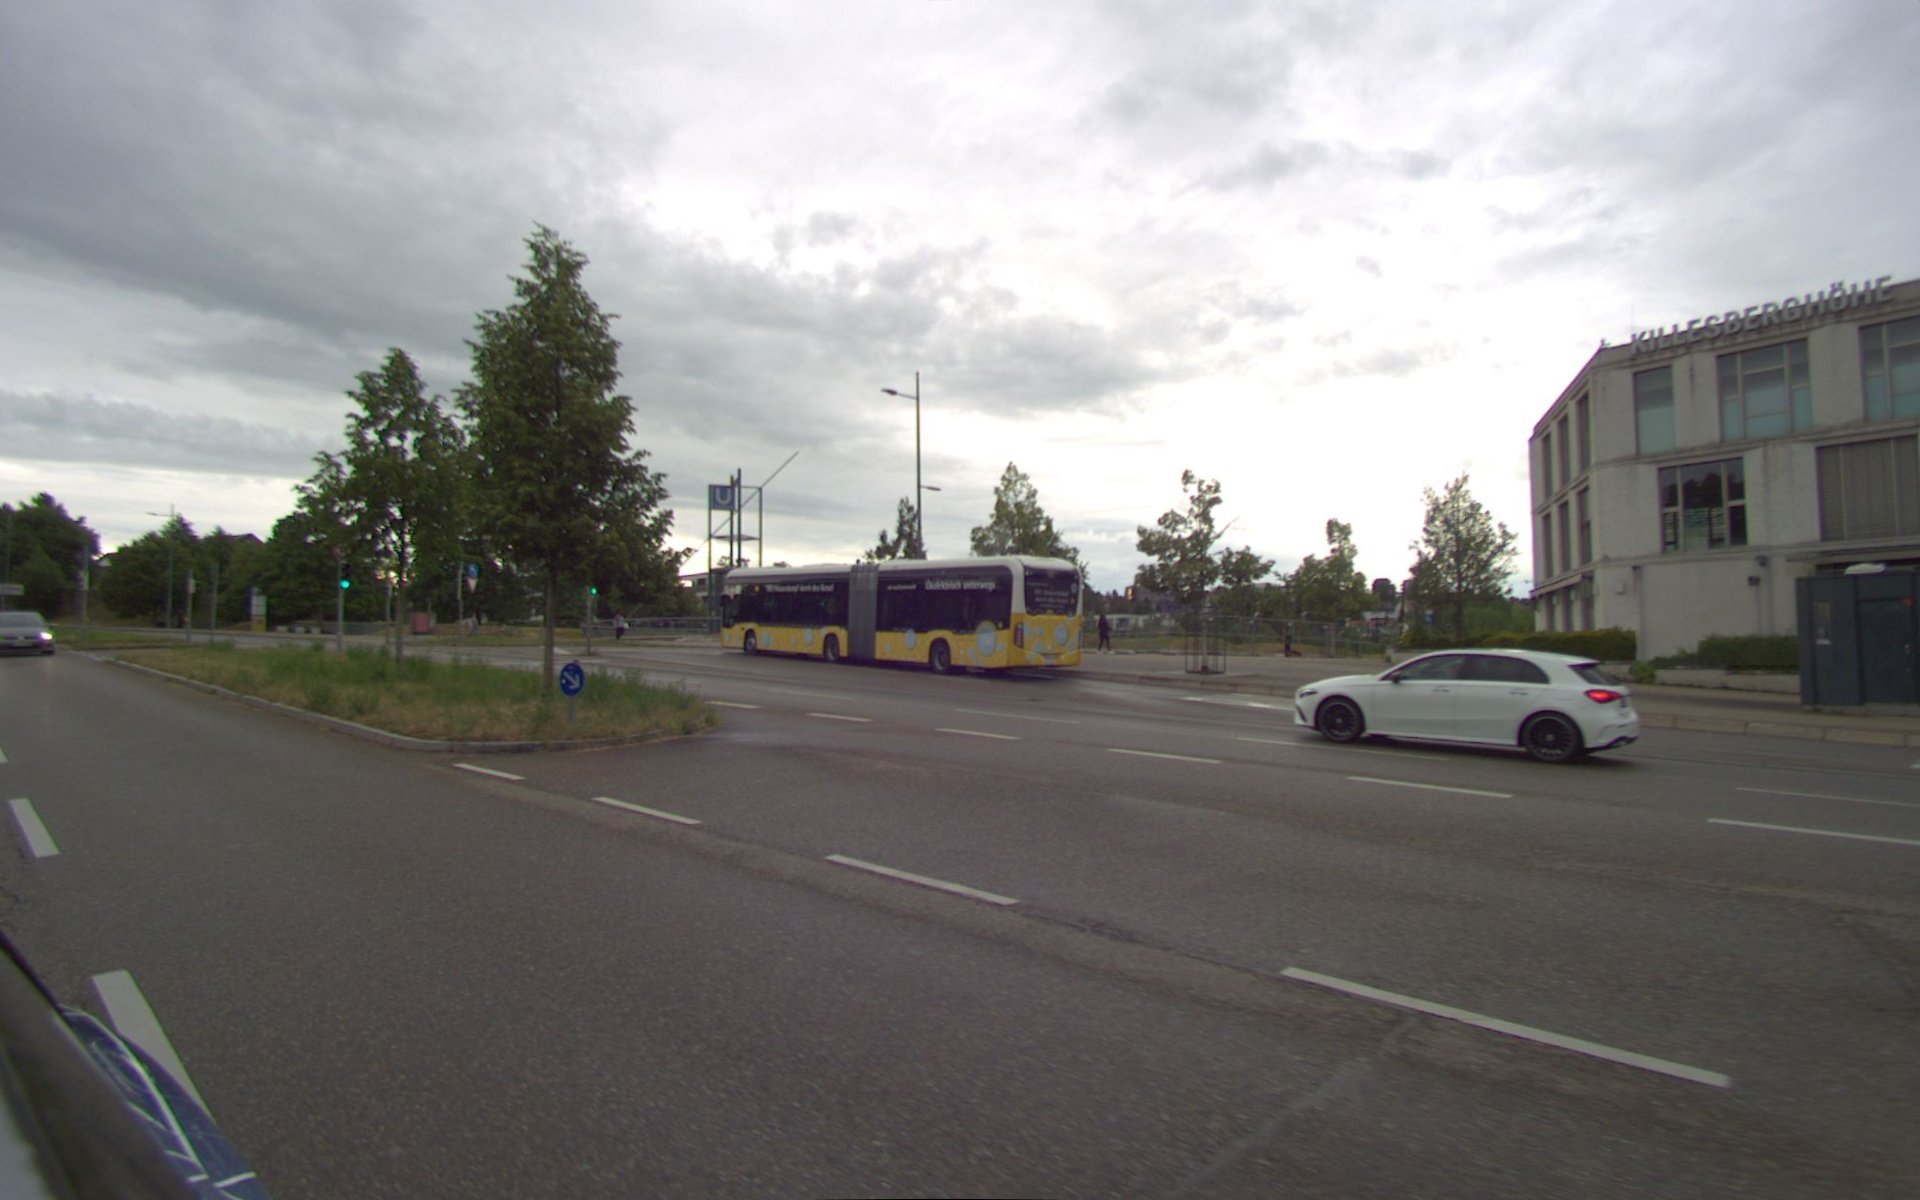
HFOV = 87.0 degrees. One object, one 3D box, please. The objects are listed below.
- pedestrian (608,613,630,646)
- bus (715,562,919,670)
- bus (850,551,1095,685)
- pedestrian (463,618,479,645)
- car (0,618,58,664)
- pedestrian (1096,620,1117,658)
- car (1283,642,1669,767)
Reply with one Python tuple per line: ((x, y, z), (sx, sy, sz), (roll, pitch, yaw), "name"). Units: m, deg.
((-17.105, 1.501, 50.781), (0.670, 1.606, 0.814), (-3, -4, 27), "pedestrian")
((-5.629, 0.542, 37.659), (2.785, 3.499, 9.993), (1, -1, -39), "bus")
((0.103, 0.501, 30.510), (2.785, 3.499, 8.247), (1, -1, -39), "bus")
((-30.607, 1.978, 63.378), (0.812, 1.606, 0.608), (-4, -4, 39), "pedestrian")
((-31.781, 1.371, 33.940), (4.195, 1.441, 1.786), (-2, -3, 41), "car")
((5.922, 1.584, 40.951), (0.664, 1.541, 0.484), (-4, -4, 38), "pedestrian")
((7.158, 1.344, 14.373), (4.514, 1.429, 1.971), (-1, -3, 44), "car")
